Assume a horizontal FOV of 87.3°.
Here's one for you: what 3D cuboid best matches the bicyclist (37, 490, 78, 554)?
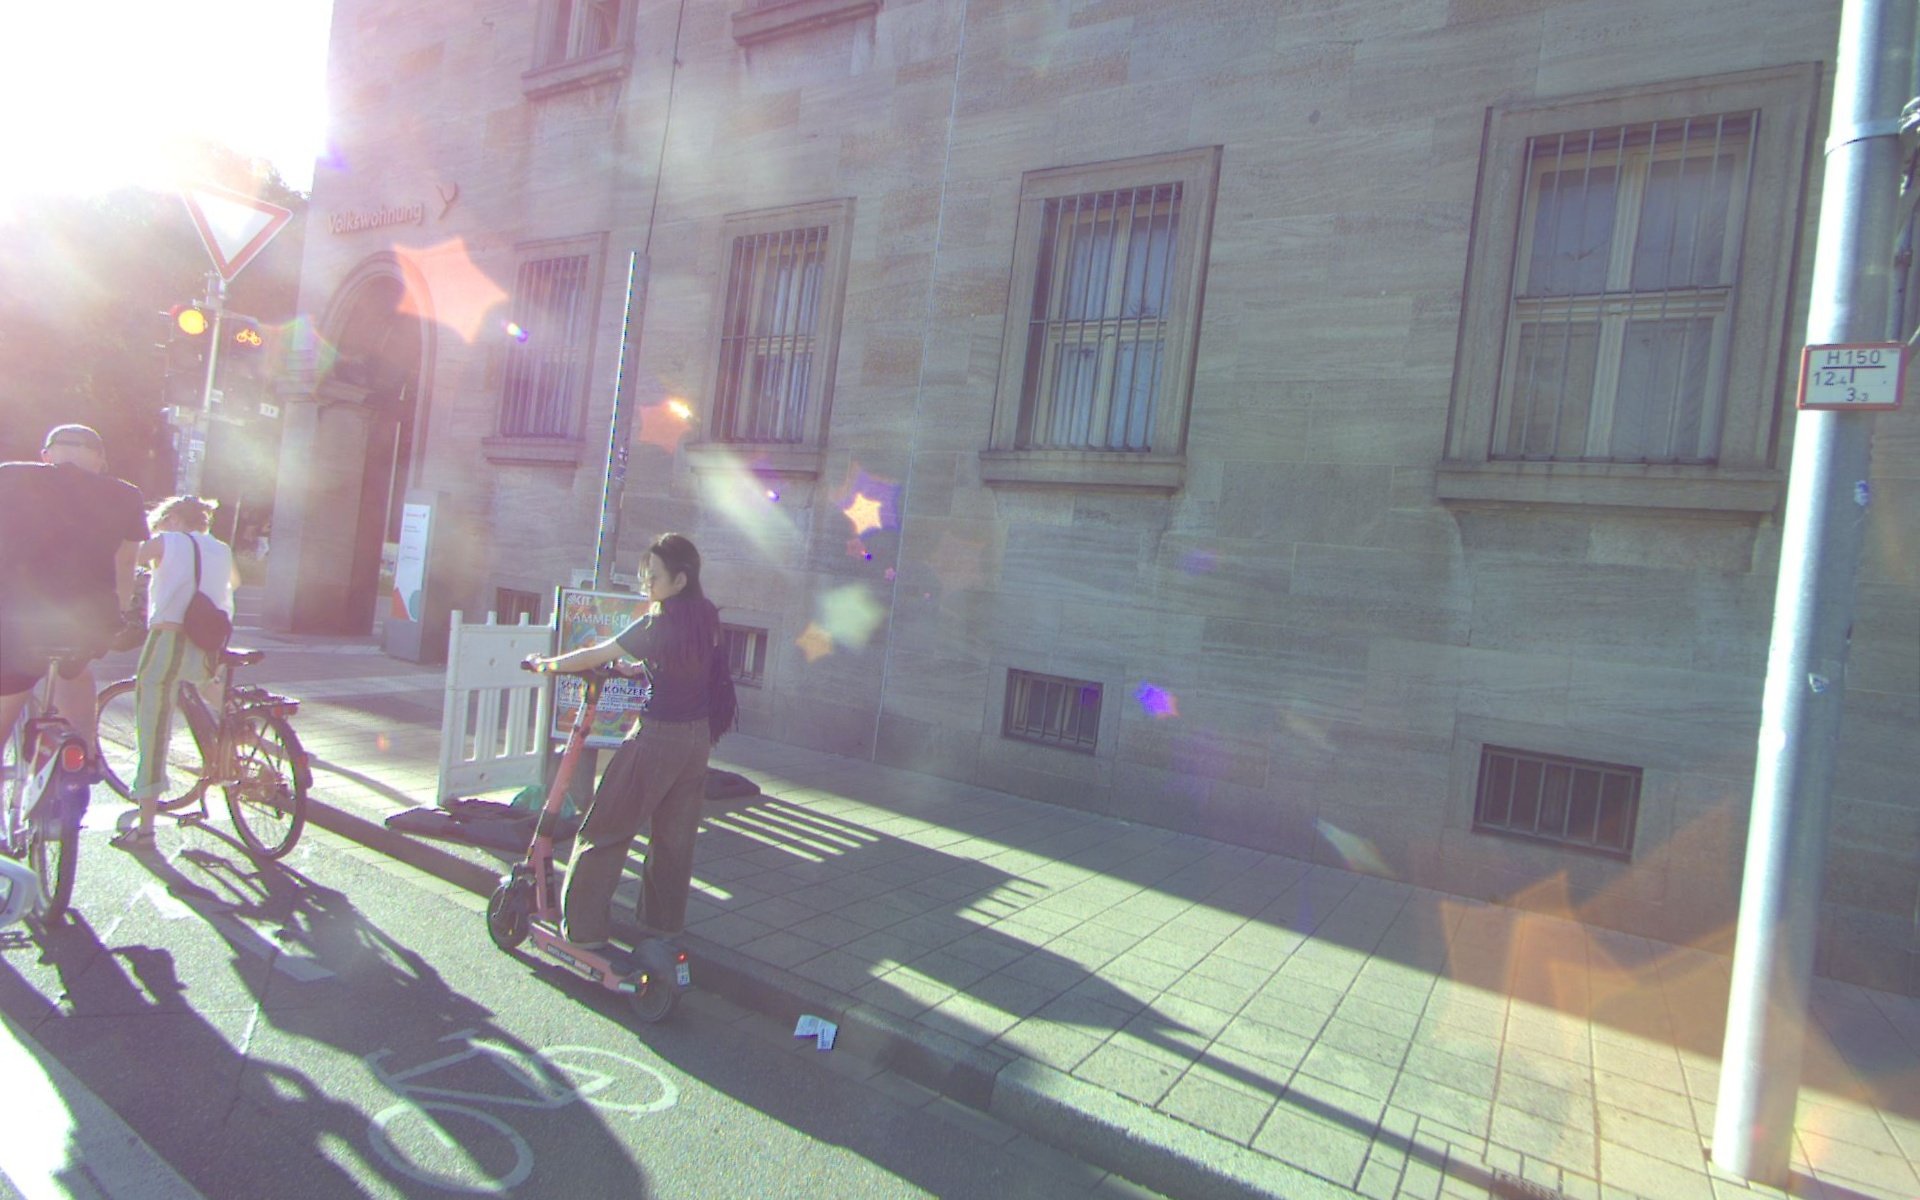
[{"bbox_3d":[-25.522,-2.205,28.452,0.499,1.704,0.643,7,0,37],"label":"bicyclist"}]

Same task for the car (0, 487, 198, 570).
[{"bbox_3d":[-23.364,-1.889,27.195,1.623,1.630,3.999,7,-1,31],"label":"car"}]

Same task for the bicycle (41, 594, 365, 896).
[{"bbox_3d":[-3.675,0.624,4.839,1.721,1.090,0.535,7,-1,31],"label":"bicycle"}]

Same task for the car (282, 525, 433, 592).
[{"bbox_3d":[-19.687,-1.316,33.021,1.623,1.630,3.854,7,-1,31],"label":"car"}]

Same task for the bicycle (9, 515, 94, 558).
[{"bbox_3d":[-25.623,-1.784,28.398,0.525,0.975,1.666,7,-1,37],"label":"bicycle"}]

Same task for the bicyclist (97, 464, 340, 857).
[{"bbox_3d":[-3.528,0.268,4.801,0.629,1.711,0.558,7,-1,30],"label":"bicyclist"}]

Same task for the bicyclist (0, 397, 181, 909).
[{"bbox_3d":[-3.542,0.196,3.851,0.541,1.820,0.559,7,-1,33],"label":"bicyclist"}]

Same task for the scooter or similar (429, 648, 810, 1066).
[{"bbox_3d":[-1.313,0.868,3.815,1.305,1.199,0.535,7,0,31],"label":"scooter or similar"}]

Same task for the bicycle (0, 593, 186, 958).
[{"bbox_3d":[-3.731,0.577,3.922,1.700,1.090,0.516,7,-1,34],"label":"bicycle"}]

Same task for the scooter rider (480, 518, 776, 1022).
[{"bbox_3d":[-1.253,0.596,3.871,0.547,1.691,0.730,7,0,32],"label":"scooter rider"}]
